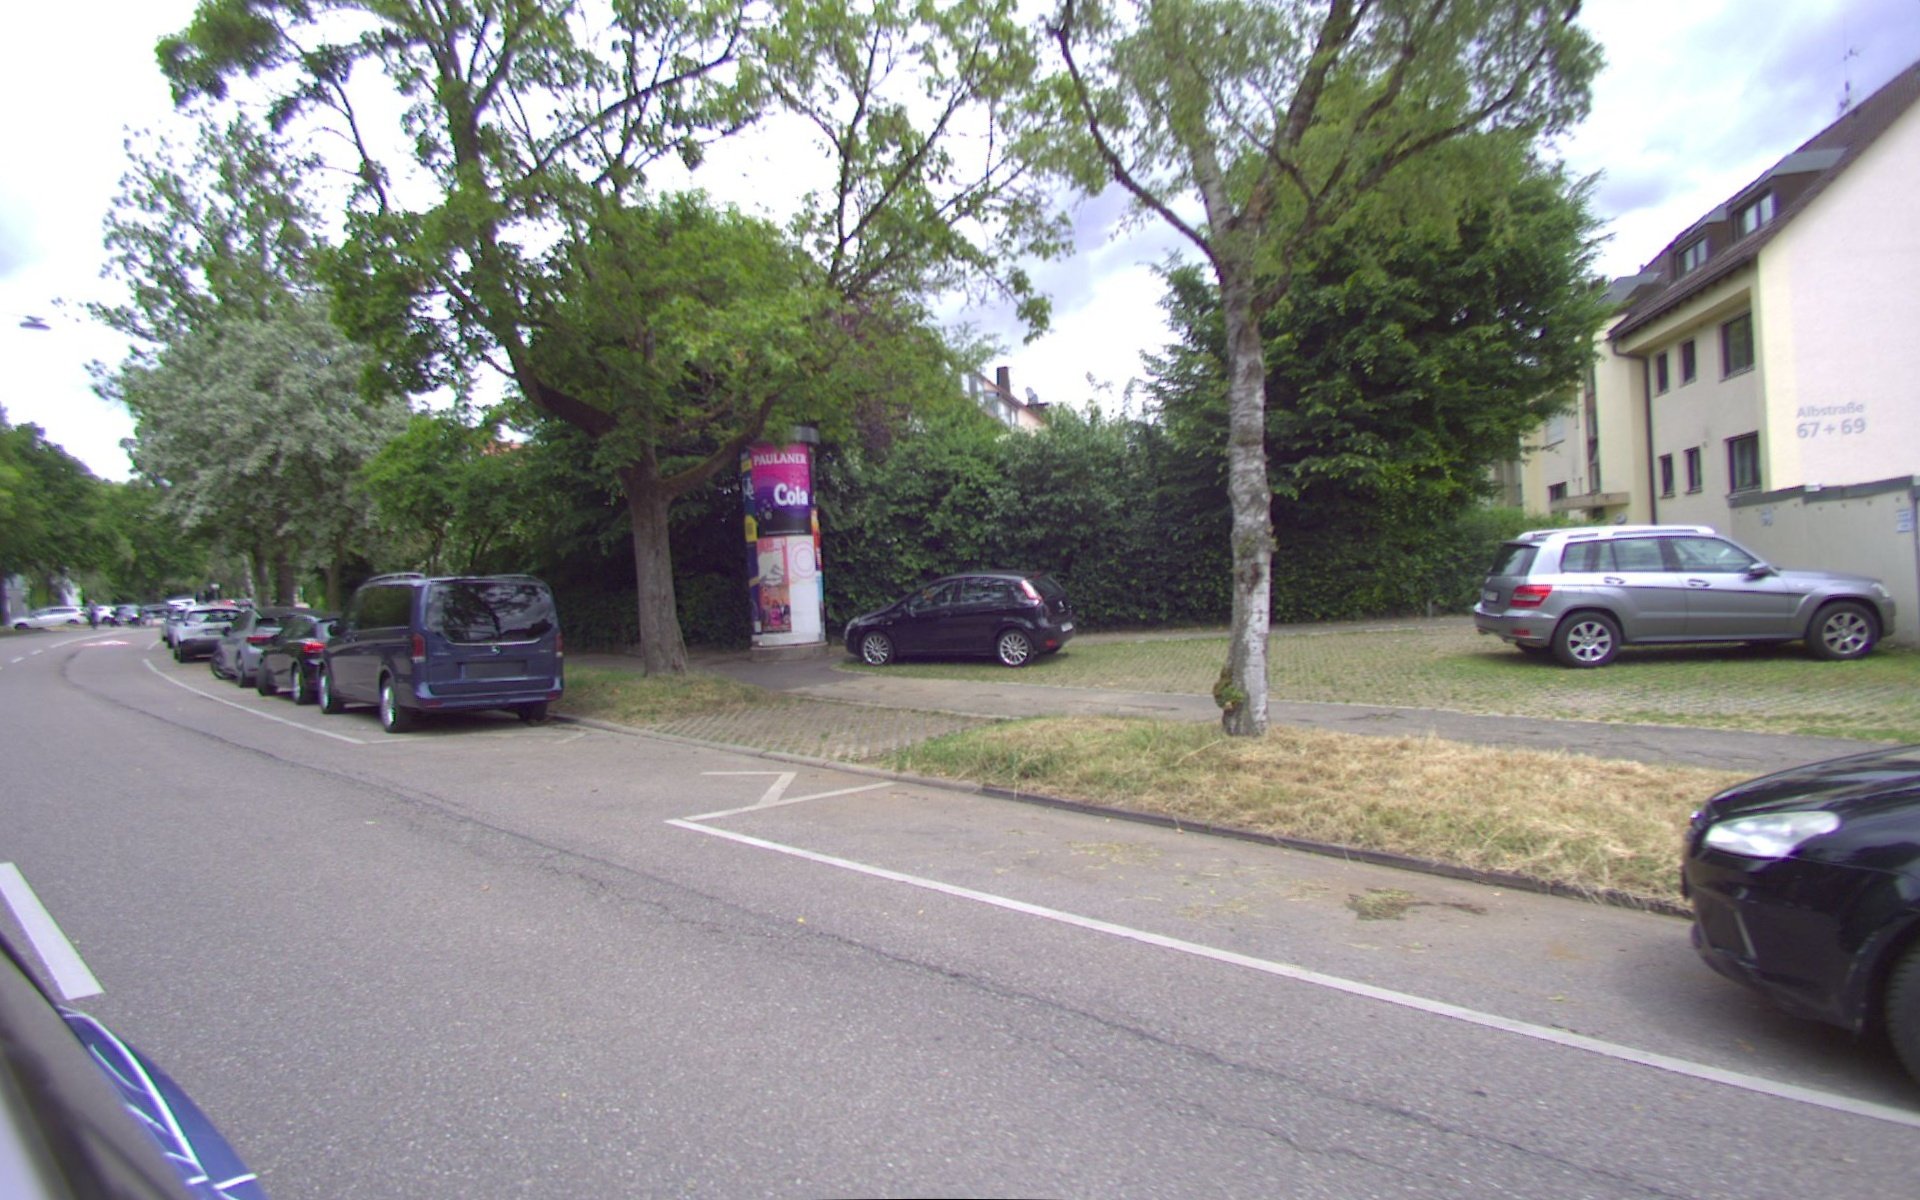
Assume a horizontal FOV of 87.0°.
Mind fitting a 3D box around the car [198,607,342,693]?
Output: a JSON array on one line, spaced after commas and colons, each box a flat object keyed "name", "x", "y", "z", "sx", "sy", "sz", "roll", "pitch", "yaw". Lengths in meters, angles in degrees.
[{"name": "car", "x": -14.510, "y": 0.964, "z": 21.175, "sx": 1.844, "sy": 1.549, "sz": 4.231, "roll": -2, "pitch": 1, "yaw": -43}]

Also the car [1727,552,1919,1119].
[{"name": "car", "x": 4.545, "y": 0.654, "z": 2.382, "sx": 4.264, "sy": 1.575, "sz": 1.786, "roll": -1, "pitch": -2, "yaw": 41}]

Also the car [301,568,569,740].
[{"name": "car", "x": -7.324, "y": 0.611, "z": 13.818, "sx": 1.836, "sy": 1.923, "sz": 5.087, "roll": -2, "pitch": 1, "yaw": -44}]

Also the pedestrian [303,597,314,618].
[{"name": "pedestrian", "x": -53.583, "y": 0.630, "z": 83.225, "sx": 0.682, "sy": 1.723, "sz": 0.780, "roll": -3, "pitch": 1, "yaw": -37}]

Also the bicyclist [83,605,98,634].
[{"name": "bicyclist", "x": -55.281, "y": 1.233, "z": 64.368, "sx": 0.637, "sy": 1.792, "sz": 0.629, "roll": -2, "pitch": 1, "yaw": -39}]

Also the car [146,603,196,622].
[{"name": "car", "x": -90.528, "y": 1.440, "z": 116.149, "sx": 1.856, "sy": 1.771, "sz": 4.170, "roll": -2, "pitch": 3, "yaw": 38}]

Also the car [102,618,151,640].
[{"name": "car", "x": -59.946, "y": 2.081, "z": 72.836, "sx": 1.830, "sy": 1.384, "sz": 4.089, "roll": -3, "pitch": 1, "yaw": -27}]

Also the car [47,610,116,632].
[{"name": "car", "x": -71.834, "y": 1.704, "z": 82.810, "sx": 1.863, "sy": 1.475, "sz": 3.951, "roll": -2, "pitch": 3, "yaw": 37}]

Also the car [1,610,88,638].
[{"name": "car", "x": -65.036, "y": 1.677, "z": 72.016, "sx": 4.413, "sy": 1.597, "sz": 1.910, "roll": -5, "pitch": 3, "yaw": -40}]

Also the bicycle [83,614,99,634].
[{"name": "bicycle", "x": -55.346, "y": 1.507, "z": 64.469, "sx": 0.638, "sy": 1.246, "sz": 1.881, "roll": -3, "pitch": 1, "yaw": -38}]

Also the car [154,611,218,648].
[{"name": "car", "x": -32.439, "y": 1.202, "z": 42.363, "sx": 1.715, "sy": 1.427, "sz": 4.476, "roll": -1, "pitch": 0, "yaw": -43}]

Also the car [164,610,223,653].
[{"name": "car", "x": -29.458, "y": 1.168, "z": 38.934, "sx": 1.713, "sy": 1.549, "sz": 4.198, "roll": -1, "pitch": 0, "yaw": -37}]

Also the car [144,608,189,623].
[{"name": "car", "x": -88.952, "y": 1.732, "z": 113.422, "sx": 3.799, "sy": 1.449, "sz": 1.718, "roll": -5, "pitch": 3, "yaw": -42}]

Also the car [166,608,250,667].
[{"name": "car", "x": -22.198, "y": 1.046, "z": 29.812, "sx": 1.714, "sy": 1.590, "sz": 4.148, "roll": -1, "pitch": 0, "yaw": -40}]

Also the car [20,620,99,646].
[{"name": "car", "x": -65.361, "y": 2.358, "z": 73.492, "sx": 1.798, "sy": 1.475, "sz": 4.089, "roll": -1, "pitch": 3, "yaw": 43}]

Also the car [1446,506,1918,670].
[{"name": "car", "x": 8.807, "y": -0.175, "z": 12.793, "sx": 4.357, "sy": 1.661, "sz": 1.994, "roll": -3, "pitch": 3, "yaw": 12}]

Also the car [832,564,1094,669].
[{"name": "car", "x": 0.040, "y": 0.270, "z": 16.924, "sx": 3.969, "sy": 1.488, "sz": 1.764, "roll": -2, "pitch": 4, "yaw": 26}]
